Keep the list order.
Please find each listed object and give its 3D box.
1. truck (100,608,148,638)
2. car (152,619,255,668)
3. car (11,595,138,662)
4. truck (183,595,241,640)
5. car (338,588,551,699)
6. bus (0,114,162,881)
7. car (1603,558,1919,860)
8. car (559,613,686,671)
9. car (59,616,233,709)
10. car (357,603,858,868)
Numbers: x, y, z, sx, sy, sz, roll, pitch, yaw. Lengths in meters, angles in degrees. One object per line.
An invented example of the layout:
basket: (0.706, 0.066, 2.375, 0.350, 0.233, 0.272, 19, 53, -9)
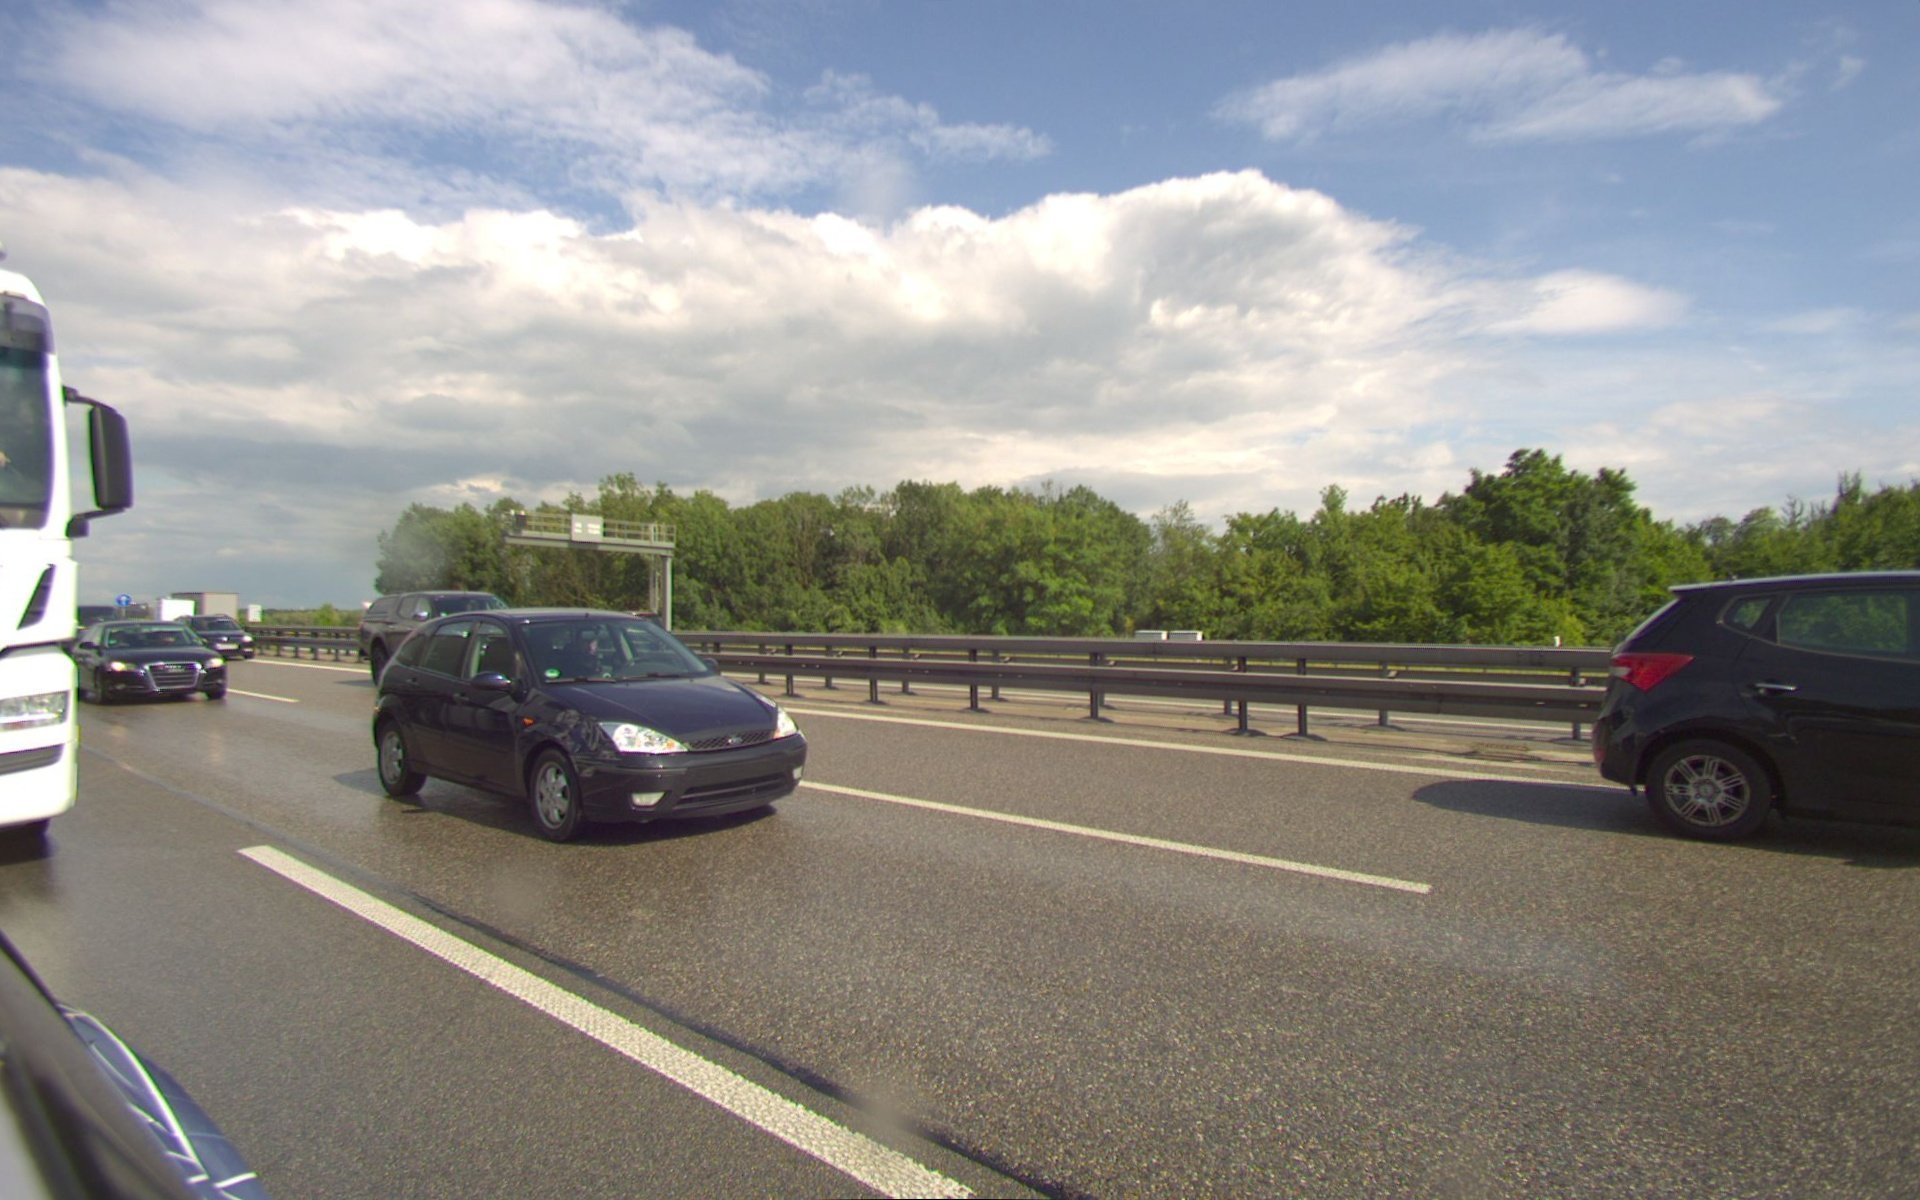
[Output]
truck: (-66.708, 1.810, 80.693, 8.919, 2.295, 1.897, -1, -1, 43)
car: (-24.250, 1.333, 32.385, 4.372, 1.435, 1.899, -1, -1, 43)
car: (-24.380, 0.757, 27.812, 4.621, 1.692, 1.858, -1, -1, 39)
truck: (-68.484, 1.565, 92.568, 8.919, 3.913, 2.762, -1, -1, 43)
car: (-10.052, 0.772, 19.514, 5.415, 1.858, 1.788, -1, -1, 41)
bus: (-9.390, -0.477, 8.135, 9.839, 4.159, 2.867, -1, 0, 41)
car: (6.031, 0.563, 5.671, 3.912, 1.590, 1.765, -1, -1, 39)
car: (-9.771, 1.168, 29.159, 3.998, 1.529, 1.685, -1, -1, 41)
car: (-14.513, 1.035, 17.976, 4.052, 1.444, 1.732, -1, -1, 41)
car: (-2.790, 0.784, 7.566, 3.997, 1.454, 1.741, -1, -1, 40)
